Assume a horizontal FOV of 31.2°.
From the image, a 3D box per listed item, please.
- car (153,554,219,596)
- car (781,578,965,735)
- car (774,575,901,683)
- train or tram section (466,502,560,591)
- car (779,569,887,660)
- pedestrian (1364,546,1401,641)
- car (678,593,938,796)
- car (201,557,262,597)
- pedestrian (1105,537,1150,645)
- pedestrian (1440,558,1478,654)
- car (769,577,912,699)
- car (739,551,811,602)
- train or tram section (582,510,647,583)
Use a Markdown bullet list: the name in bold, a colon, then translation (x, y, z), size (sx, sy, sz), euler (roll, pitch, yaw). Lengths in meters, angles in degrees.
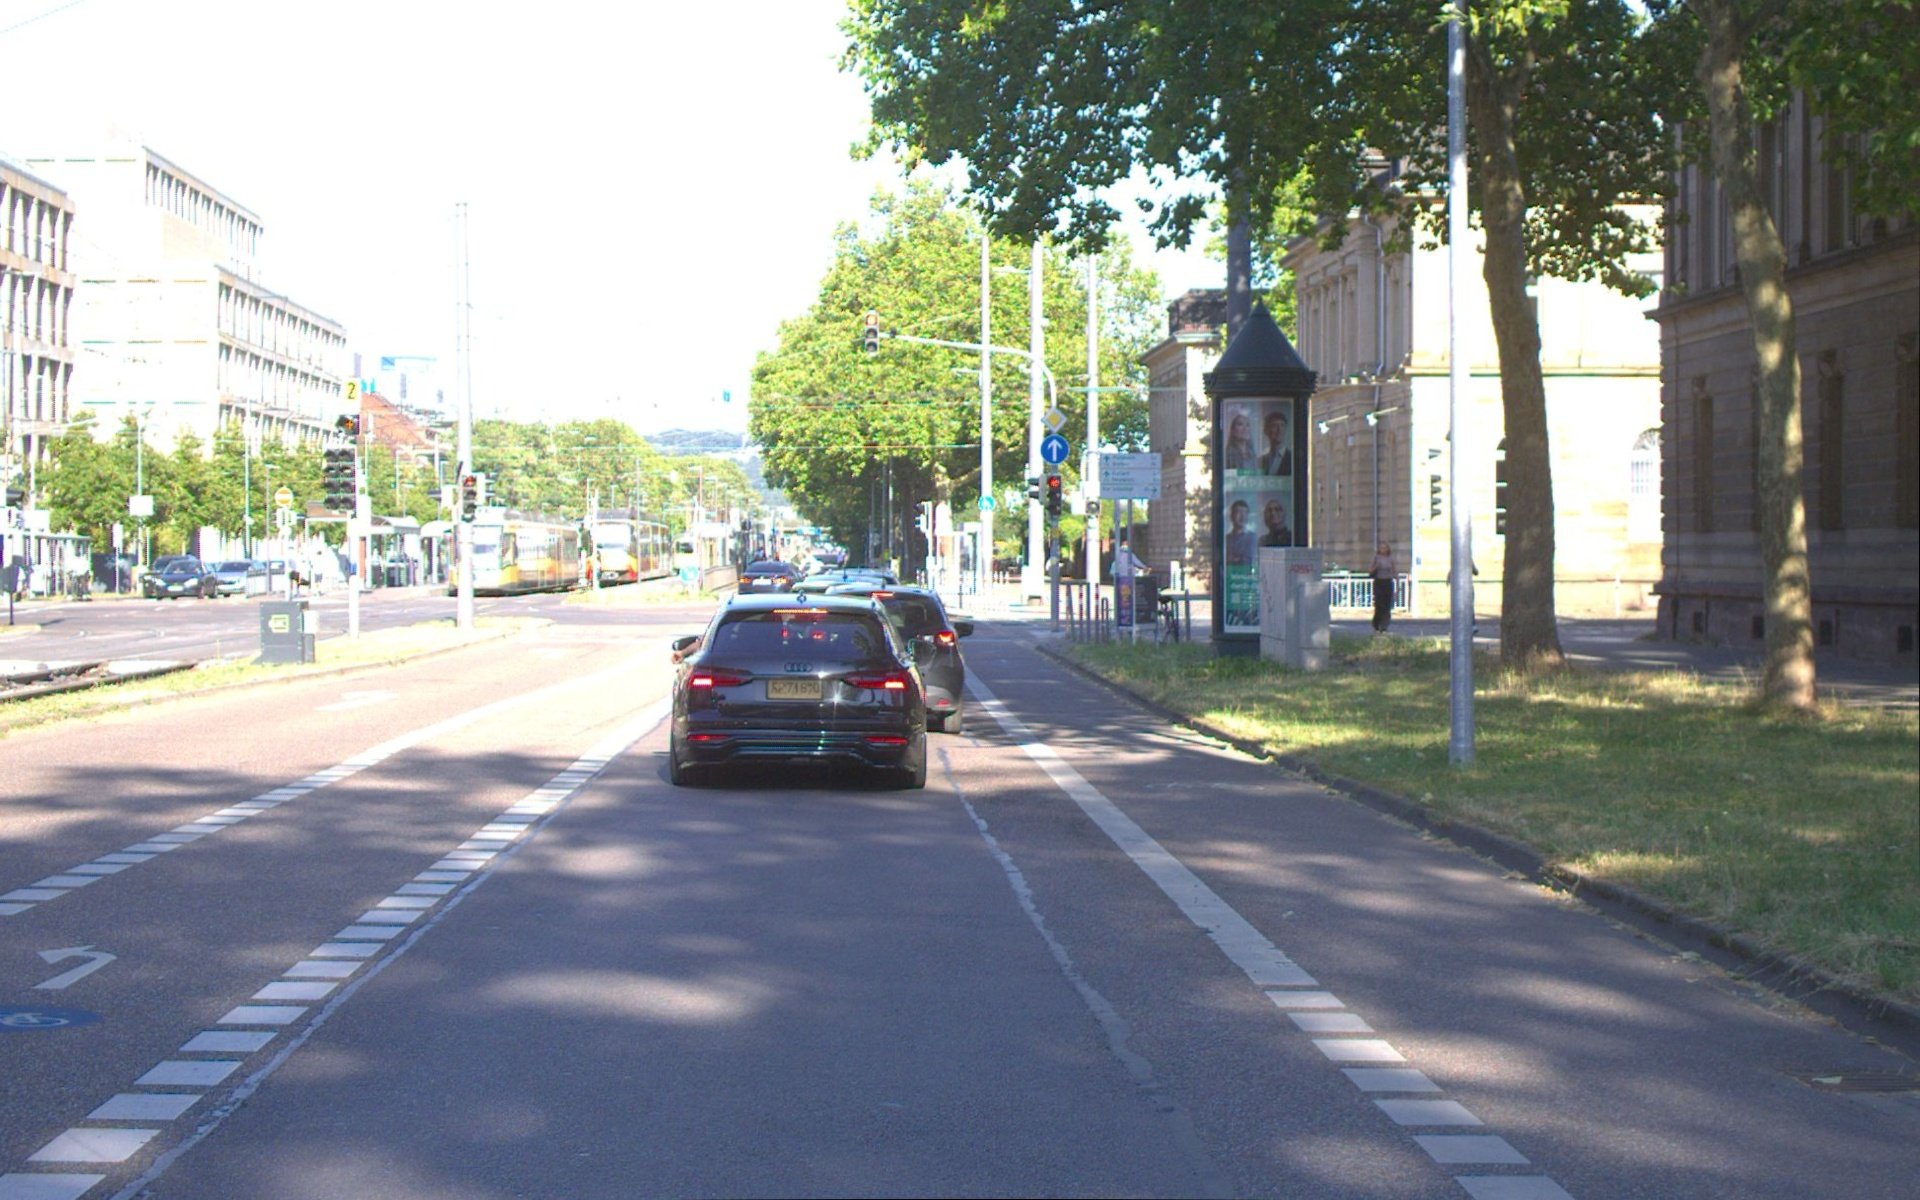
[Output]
- **car**: translation (-28.388, -0.939, 126.142), size (1.794, 1.505, 4.001), euler (0, 1, -4)
- **car**: translation (-0.907, 0.542, 35.734), size (1.794, 1.505, 4.000), euler (0, 1, -1)
- **car**: translation (-1.796, 0.397, 50.849), size (1.794, 1.505, 4.000), euler (0, 1, -1)
- **train or tram section**: translation (-17.698, -2.123, 136.631), size (2.825, 3.439, 9.065), euler (0, 1, -2)
- **car**: translation (-2.174, 0.227, 59.280), size (1.794, 1.505, 4.000), euler (0, 1, -1)
- **pedestrian**: translation (7.795, -0.127, 63.412), size (0.588, 1.722, 0.650), euler (2, 1, 11)
- **car**: translation (-1.174, 0.668, 26.445), size (1.833, 1.386, 4.159), euler (0, 1, -3)
- **car**: translation (-28.167, -0.898, 132.939), size (1.794, 1.505, 4.001), euler (0, 1, -4)
- **pedestrian**: translation (2.708, -0.150, 55.439), size (0.588, 1.722, 0.650), euler (2, 1, 11)
- **pedestrian**: translation (9.169, 0.106, 63.105), size (0.588, 1.722, 0.650), euler (2, 1, 13)
- **car**: translation (-1.554, 0.464, 45.200), size (1.794, 1.505, 4.000), euler (0, 1, -1)
- **car**: translation (-5.840, -0.732, 109.057), size (1.794, 1.505, 3.999), euler (2, 0, 4)
- **train or tram section**: translation (-16.829, -2.620, 167.966), size (2.825, 3.439, 9.065), euler (0, 1, -4)
